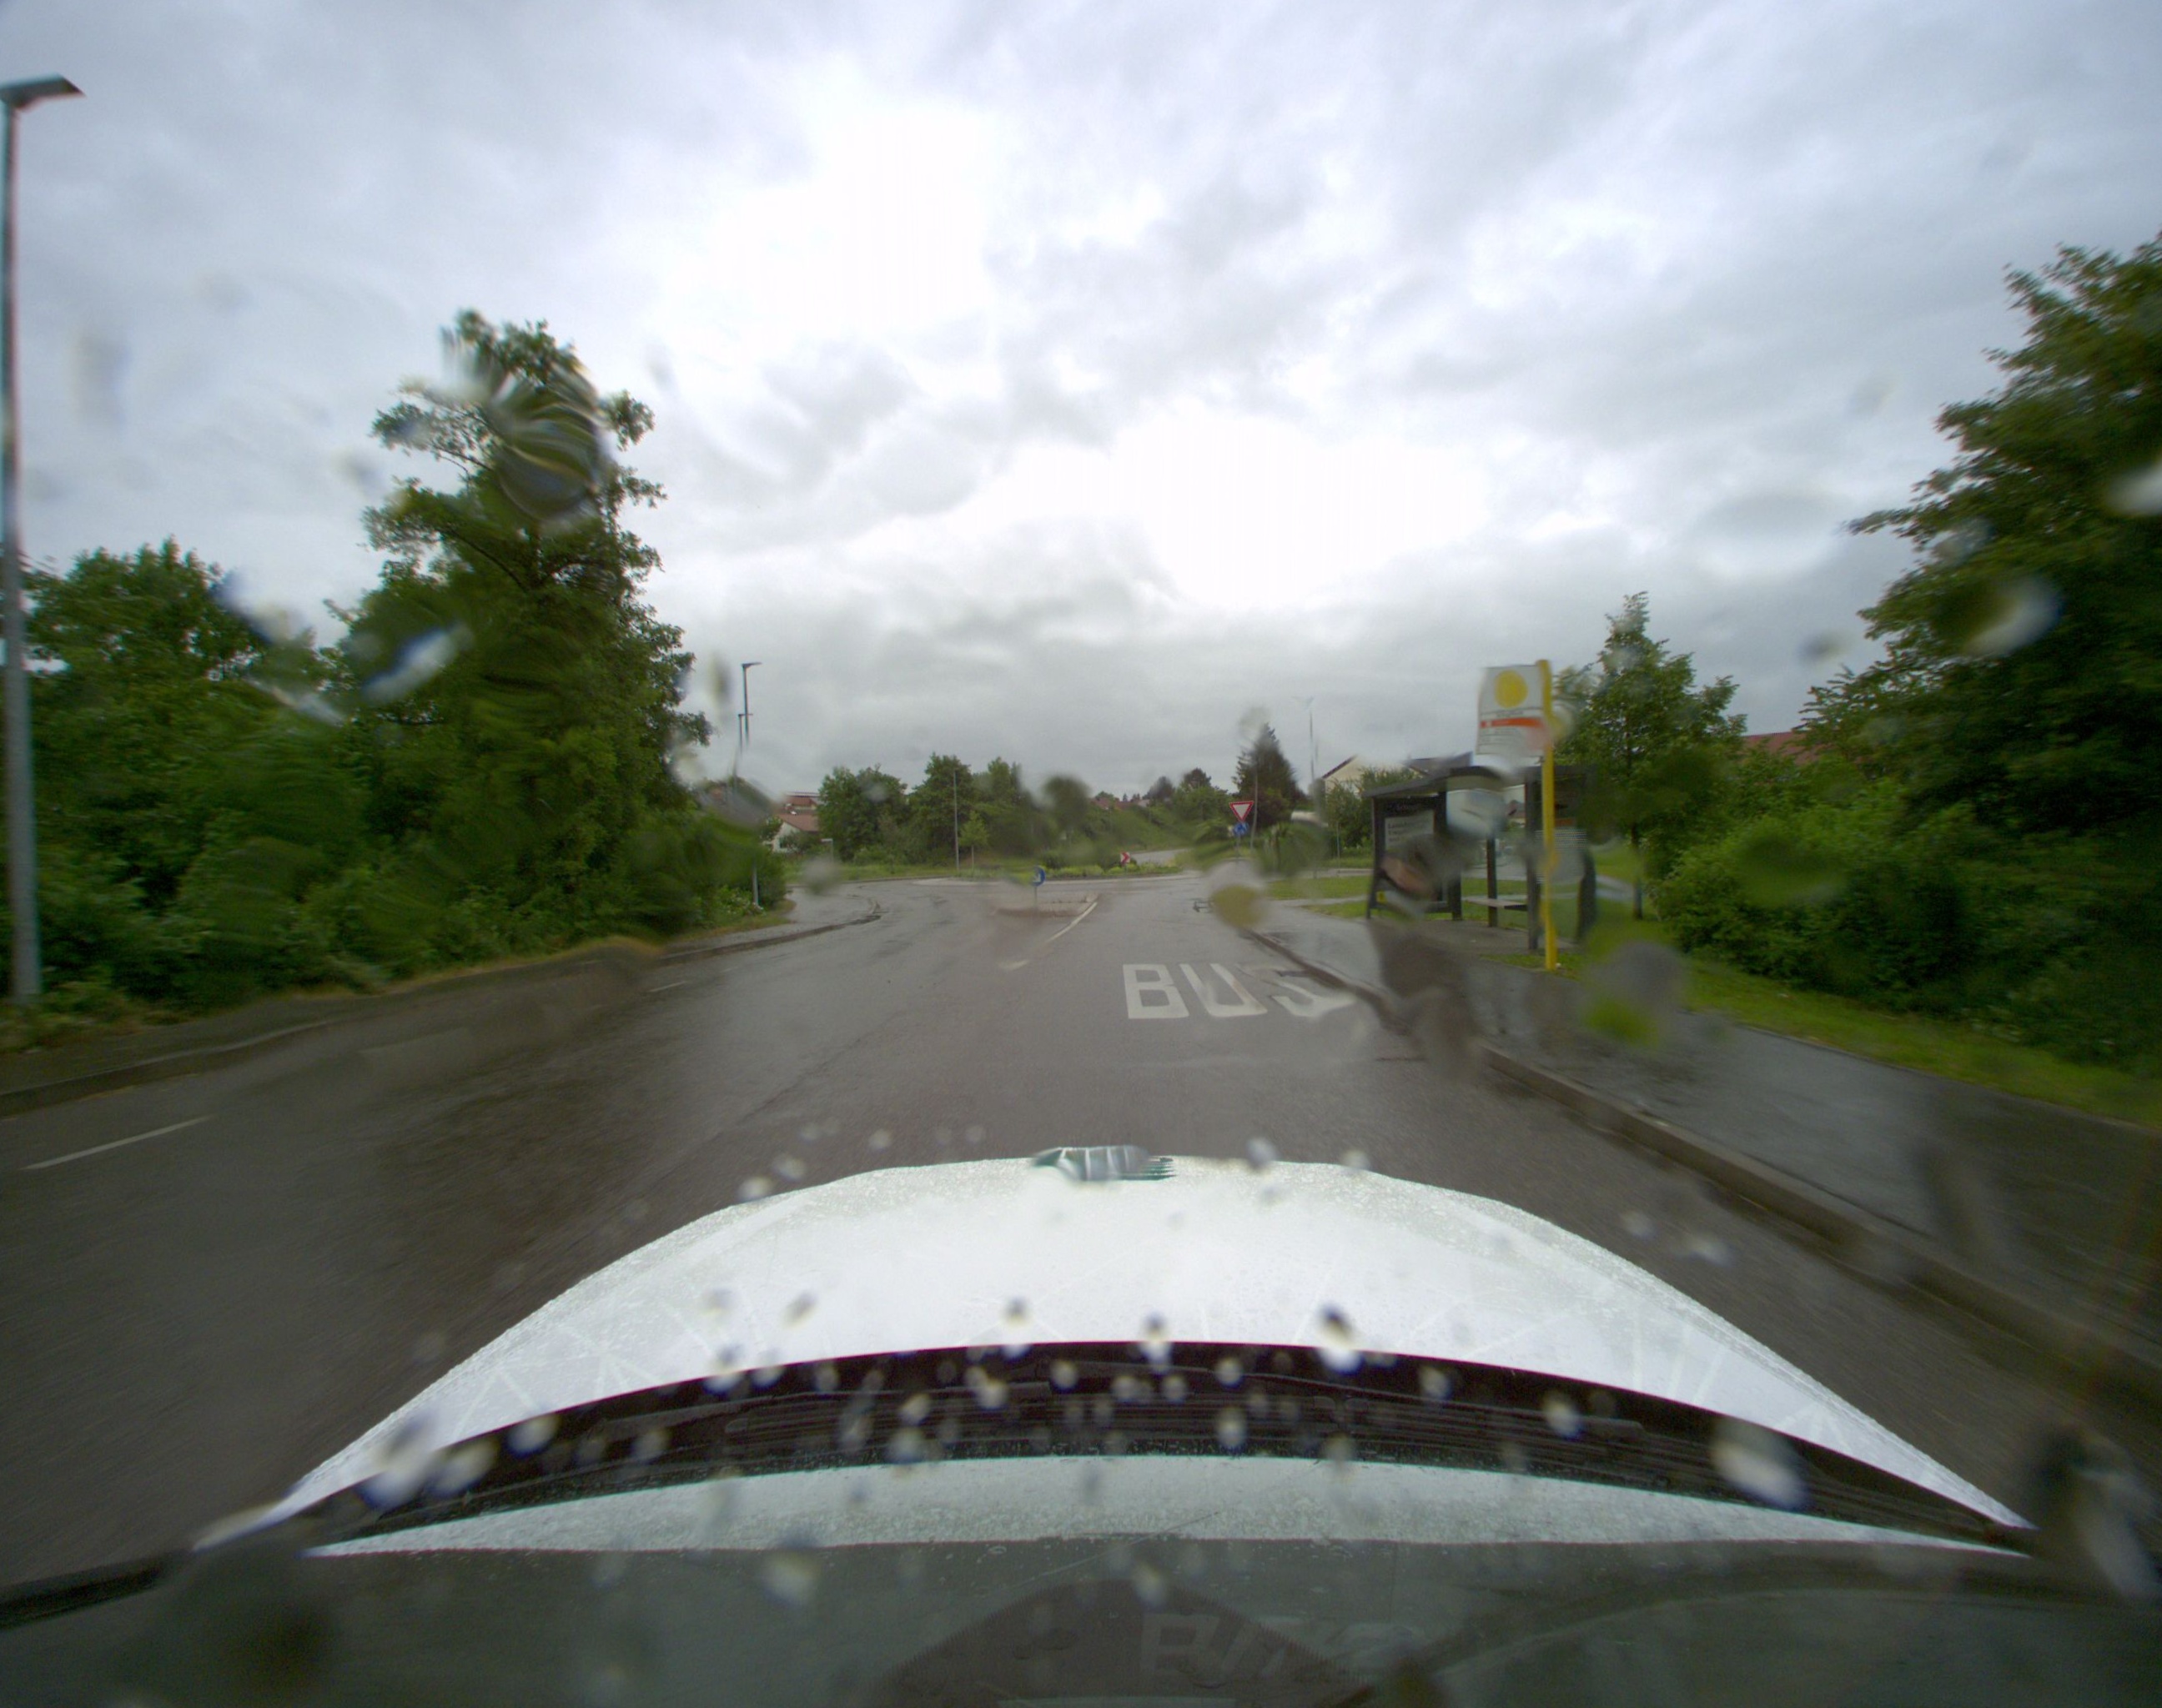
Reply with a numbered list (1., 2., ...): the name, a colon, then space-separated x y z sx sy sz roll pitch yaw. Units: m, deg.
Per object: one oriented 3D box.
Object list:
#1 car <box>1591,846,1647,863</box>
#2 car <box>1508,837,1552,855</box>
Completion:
1. car: 46.029 0.028 69.798 3.948 1.374 1.796 -1 0 31
2. car: 50.375 -0.843 91.385 3.950 1.827 1.908 -3 -1 45
